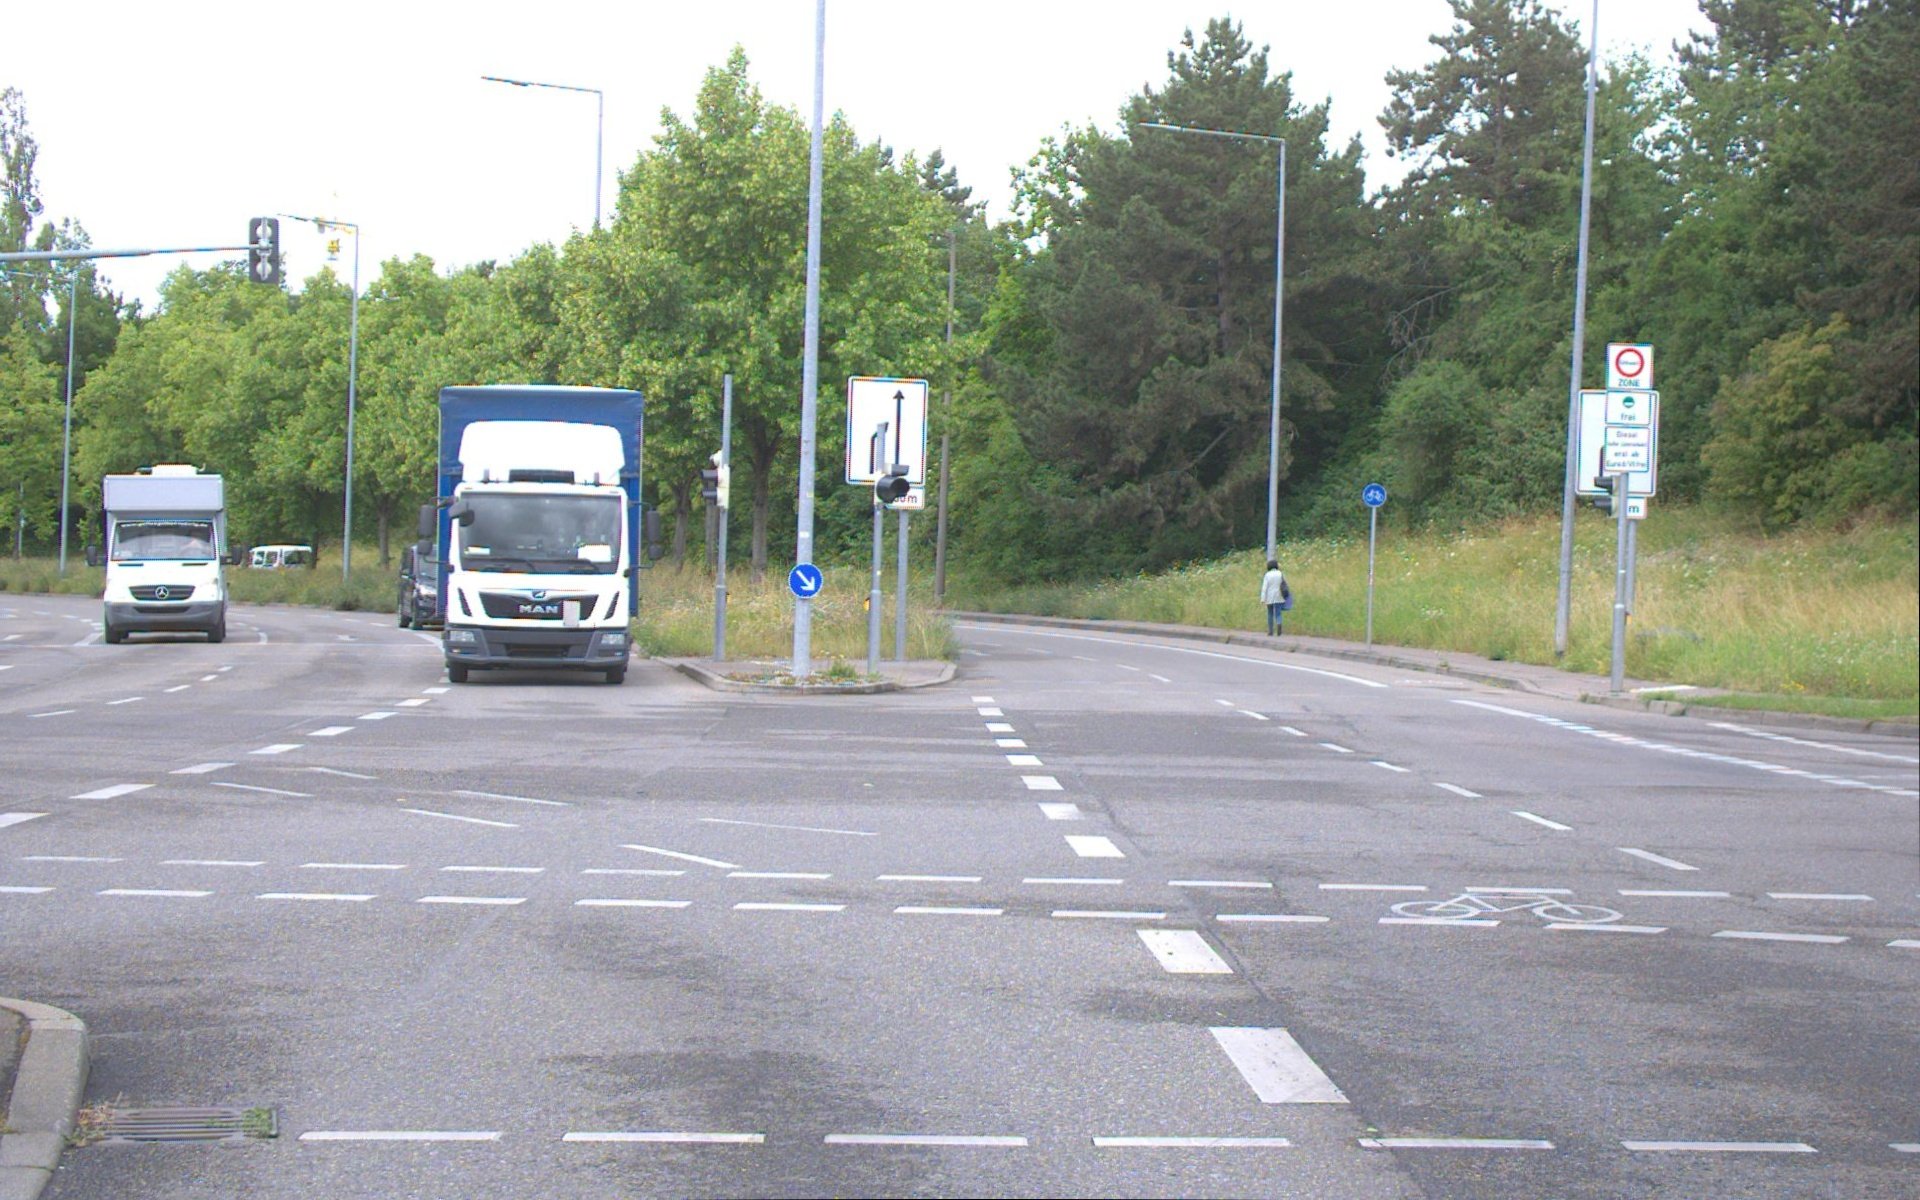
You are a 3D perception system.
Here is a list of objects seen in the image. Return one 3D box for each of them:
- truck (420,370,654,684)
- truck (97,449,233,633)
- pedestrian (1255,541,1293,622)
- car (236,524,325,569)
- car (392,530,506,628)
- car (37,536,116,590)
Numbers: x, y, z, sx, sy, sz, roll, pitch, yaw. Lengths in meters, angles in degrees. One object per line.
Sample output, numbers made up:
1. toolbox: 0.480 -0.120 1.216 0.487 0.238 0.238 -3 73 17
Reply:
1. truck: -5.625 -0.955 46.015 2.778 3.791 8.391 1 1 -7
2. truck: -14.002 -1.031 60.783 2.104 3.000 6.275 -3 1 -12
3. pedestrian: 6.754 -0.403 73.945 0.739 1.711 0.625 1 1 -1
4. car: -26.941 -2.138 136.249 1.994 1.722 3.727 0 1 -37
5. car: -10.975 -0.484 73.629 1.993 2.007 4.610 1 1 -14
6. car: -30.120 -1.261 117.143 1.993 1.777 4.001 0 1 -23
